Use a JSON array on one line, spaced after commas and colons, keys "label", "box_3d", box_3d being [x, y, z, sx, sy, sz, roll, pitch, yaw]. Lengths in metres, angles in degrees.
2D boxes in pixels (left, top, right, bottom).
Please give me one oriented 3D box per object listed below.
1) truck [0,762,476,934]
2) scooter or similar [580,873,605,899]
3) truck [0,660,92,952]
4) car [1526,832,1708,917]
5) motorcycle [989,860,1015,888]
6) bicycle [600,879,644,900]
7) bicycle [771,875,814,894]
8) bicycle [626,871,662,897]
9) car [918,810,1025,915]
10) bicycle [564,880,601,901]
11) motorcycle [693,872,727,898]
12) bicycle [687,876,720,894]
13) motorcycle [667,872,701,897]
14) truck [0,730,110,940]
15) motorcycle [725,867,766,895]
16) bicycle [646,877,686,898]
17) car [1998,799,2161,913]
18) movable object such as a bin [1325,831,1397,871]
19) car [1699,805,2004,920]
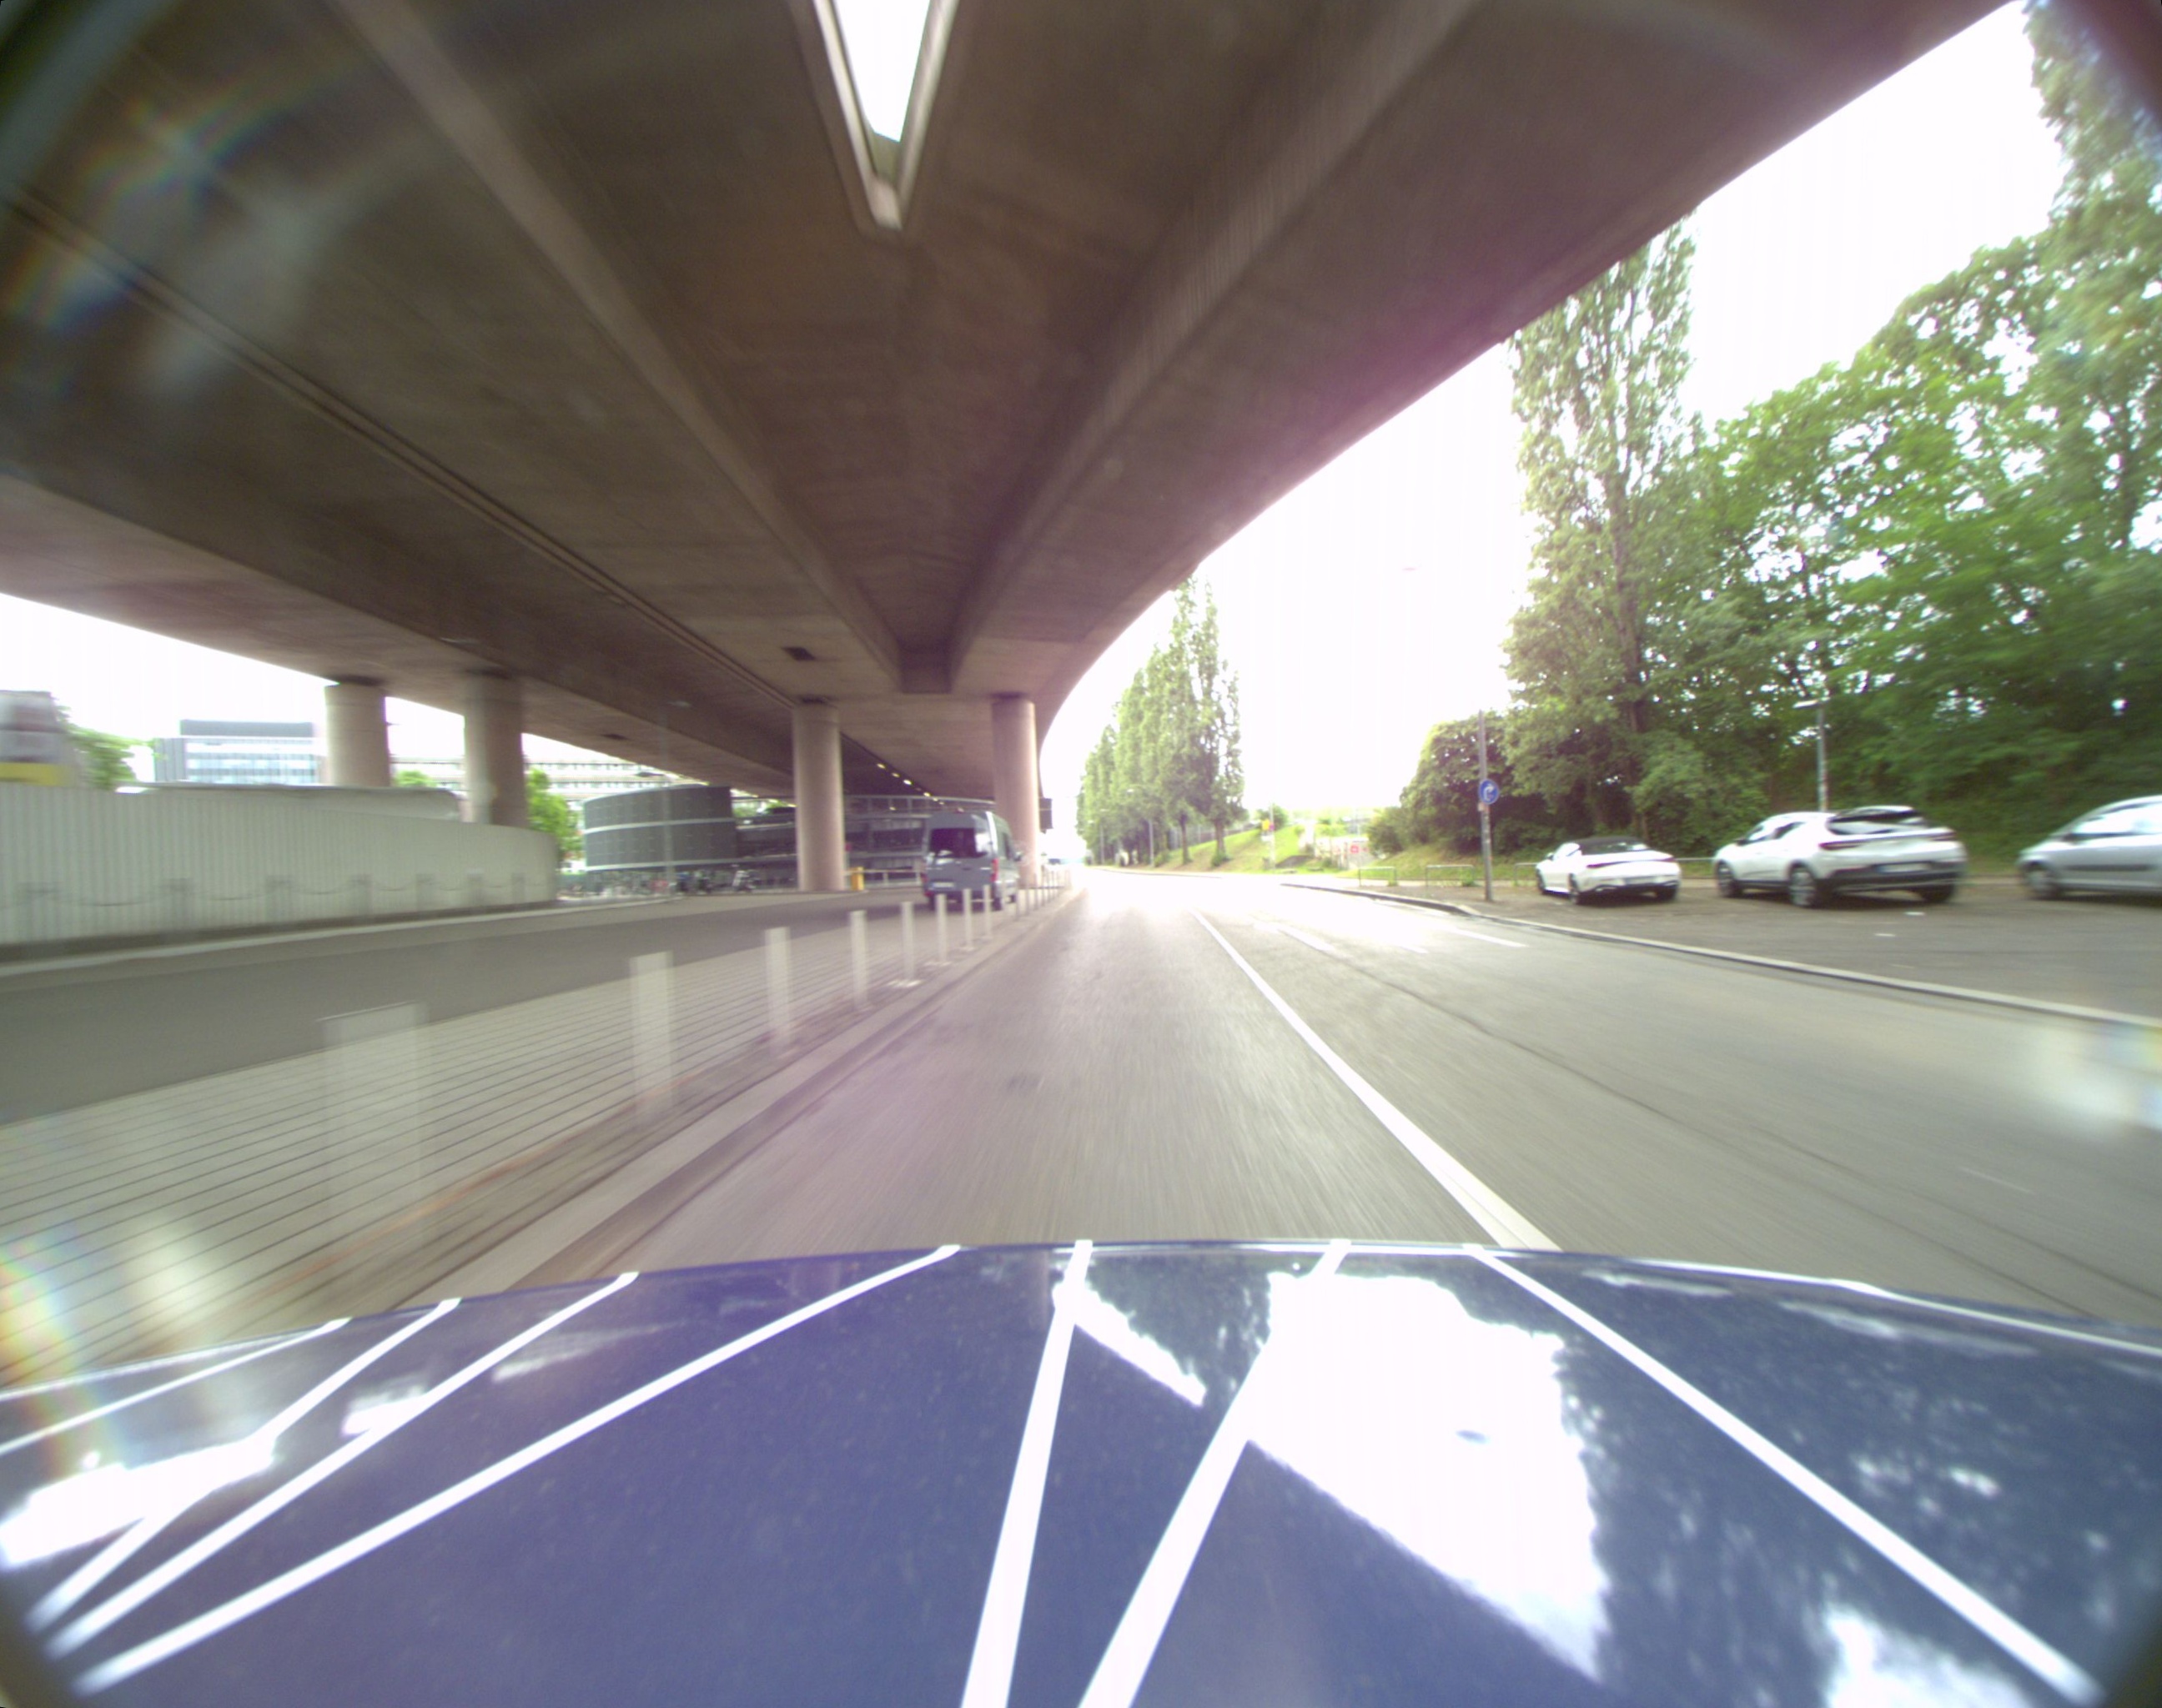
[{"label": "truck", "box_3d": [-25.313, -0.162, 23.127, 3.004, 4.278, 10.319, -1, 0, 40]}, {"label": "scooter or similar", "box_3d": [-24.452, 1.600, 38.035, 1.676, 1.210, 0.545, -5, -5, 39]}, {"label": "truck", "box_3d": [-21.814, -0.746, 10.548, 3.139, 4.895, 9.746, -1, 0, 38]}, {"label": "car", "box_3d": [12.184, 0.358, 17.714, 1.996, 1.471, 4.833, -6, 1, 18]}, {"label": "motorcycle", "box_3d": [-4.008, 0.987, 38.199, 0.799, 1.358, 2.126, -1, -1, -20]}, {"label": "bicycle", "box_3d": [-23.794, 1.829, 39.381, 2.061, 1.017, 0.396, -2, -1, 3]}, {"label": "bicycle", "box_3d": [-15.130, 1.584, 39.882, 2.019, 0.920, 0.419, -2, -1, -12]}, {"label": "bicycle", "box_3d": [-20.888, 1.457, 36.299, 2.324, 1.098, 0.622, -5, -5, 36]}, {"label": "car", "box_3d": [-2.979, 0.246, 22.178, 1.998, 2.597, 6.075, -1, 0, 2]}, {"label": "bicycle", "box_3d": [-26.051, 1.925, 39.691, 1.733, 1.017, 0.437, -3, -1, 7]}, {"label": "motorcycle", "box_3d": [-17.358, 1.460, 35.625, 0.544, 1.098, 2.331, -2, -4, -2]}, {"label": "bicycle", "box_3d": [-23.725, 1.944, 47.787, 1.789, 1.072, 0.436, -2, -1, -13]}, {"label": "motorcycle", "box_3d": [-18.610, 1.442, 35.652, 0.573, 1.098, 2.330, -2, -4, -5]}, {"label": "truck", "box_3d": [-24.638, -0.323, 12.899, 2.806, 4.134, 9.951, -1, 0, 38]}, {"label": "motorcycle", "box_3d": [-15.722, 1.274, 35.691, 0.784, 1.227, 2.537, -1, -2, 1]}, {"label": "bicycle", "box_3d": [-21.481, 1.724, 39.335, 1.734, 0.976, 0.437, -2, -1, -5]}, {"label": "car", "box_3d": [14.883, -0.020, 10.107, 1.789, 1.445, 3.752, -2, 0, 21]}, {"label": "movable object such as a bin", "box_3d": [19.562, -0.173, 53.128, 2.031, 2.706, 4.219, -1, 0, -42]}, {"label": "car", "box_3d": [13.514, 0.077, 13.800, 1.996, 1.573, 4.405, -6, 0, 18]}]
